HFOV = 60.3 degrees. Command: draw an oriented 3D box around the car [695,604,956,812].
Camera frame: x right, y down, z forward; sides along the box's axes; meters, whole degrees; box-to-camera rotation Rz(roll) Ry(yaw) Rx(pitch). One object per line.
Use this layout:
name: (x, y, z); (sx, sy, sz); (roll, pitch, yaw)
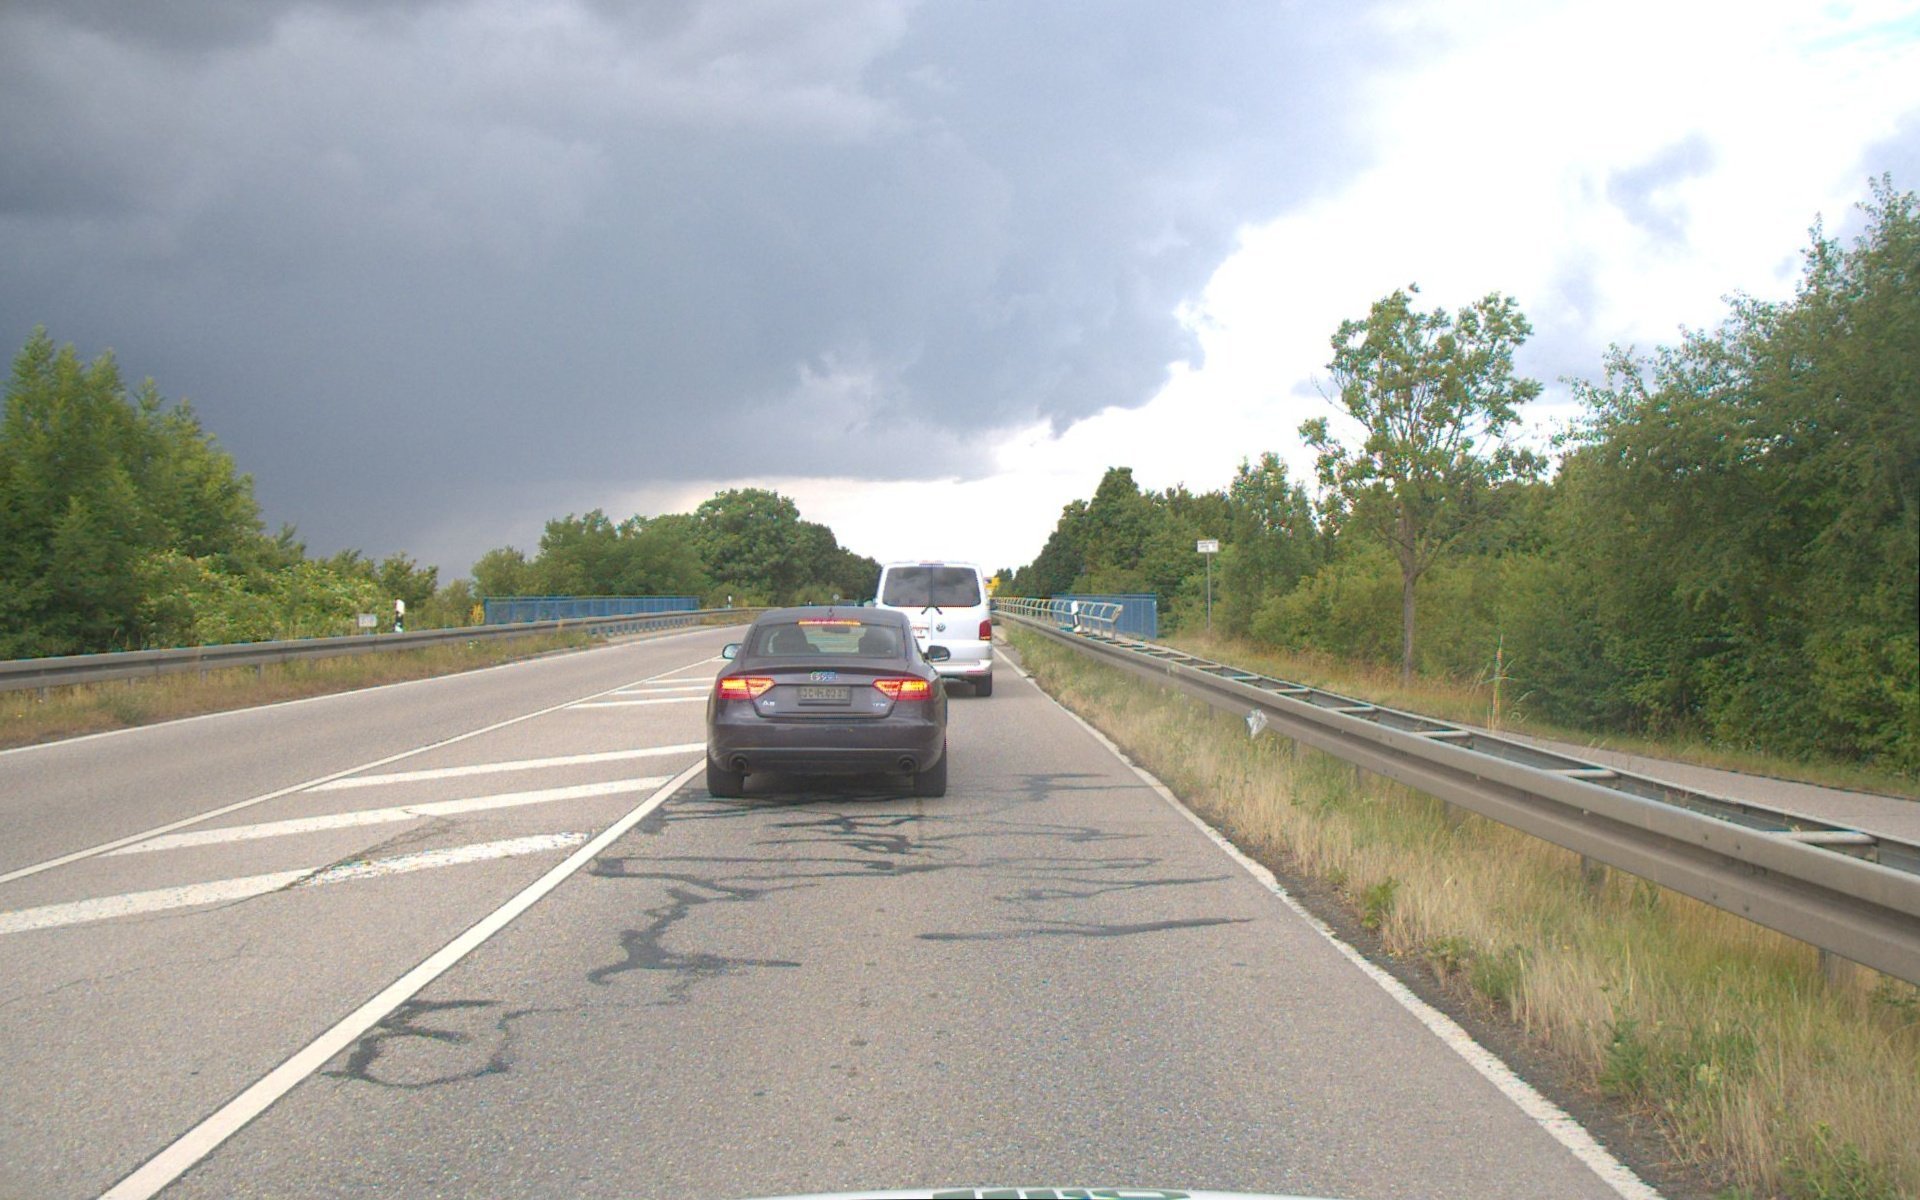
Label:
car: (-0.960, 0.750, 13.443); (1.784, 1.405, 4.071); (-1, 0, -1)

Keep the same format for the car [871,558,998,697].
car: (-0.394, 0.394, 25.596); (1.791, 1.969, 3.999); (-1, 0, -1)

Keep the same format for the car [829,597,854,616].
car: (-9.218, 0.512, 128.709); (1.763, 1.475, 4.444); (-1, 0, -2)
